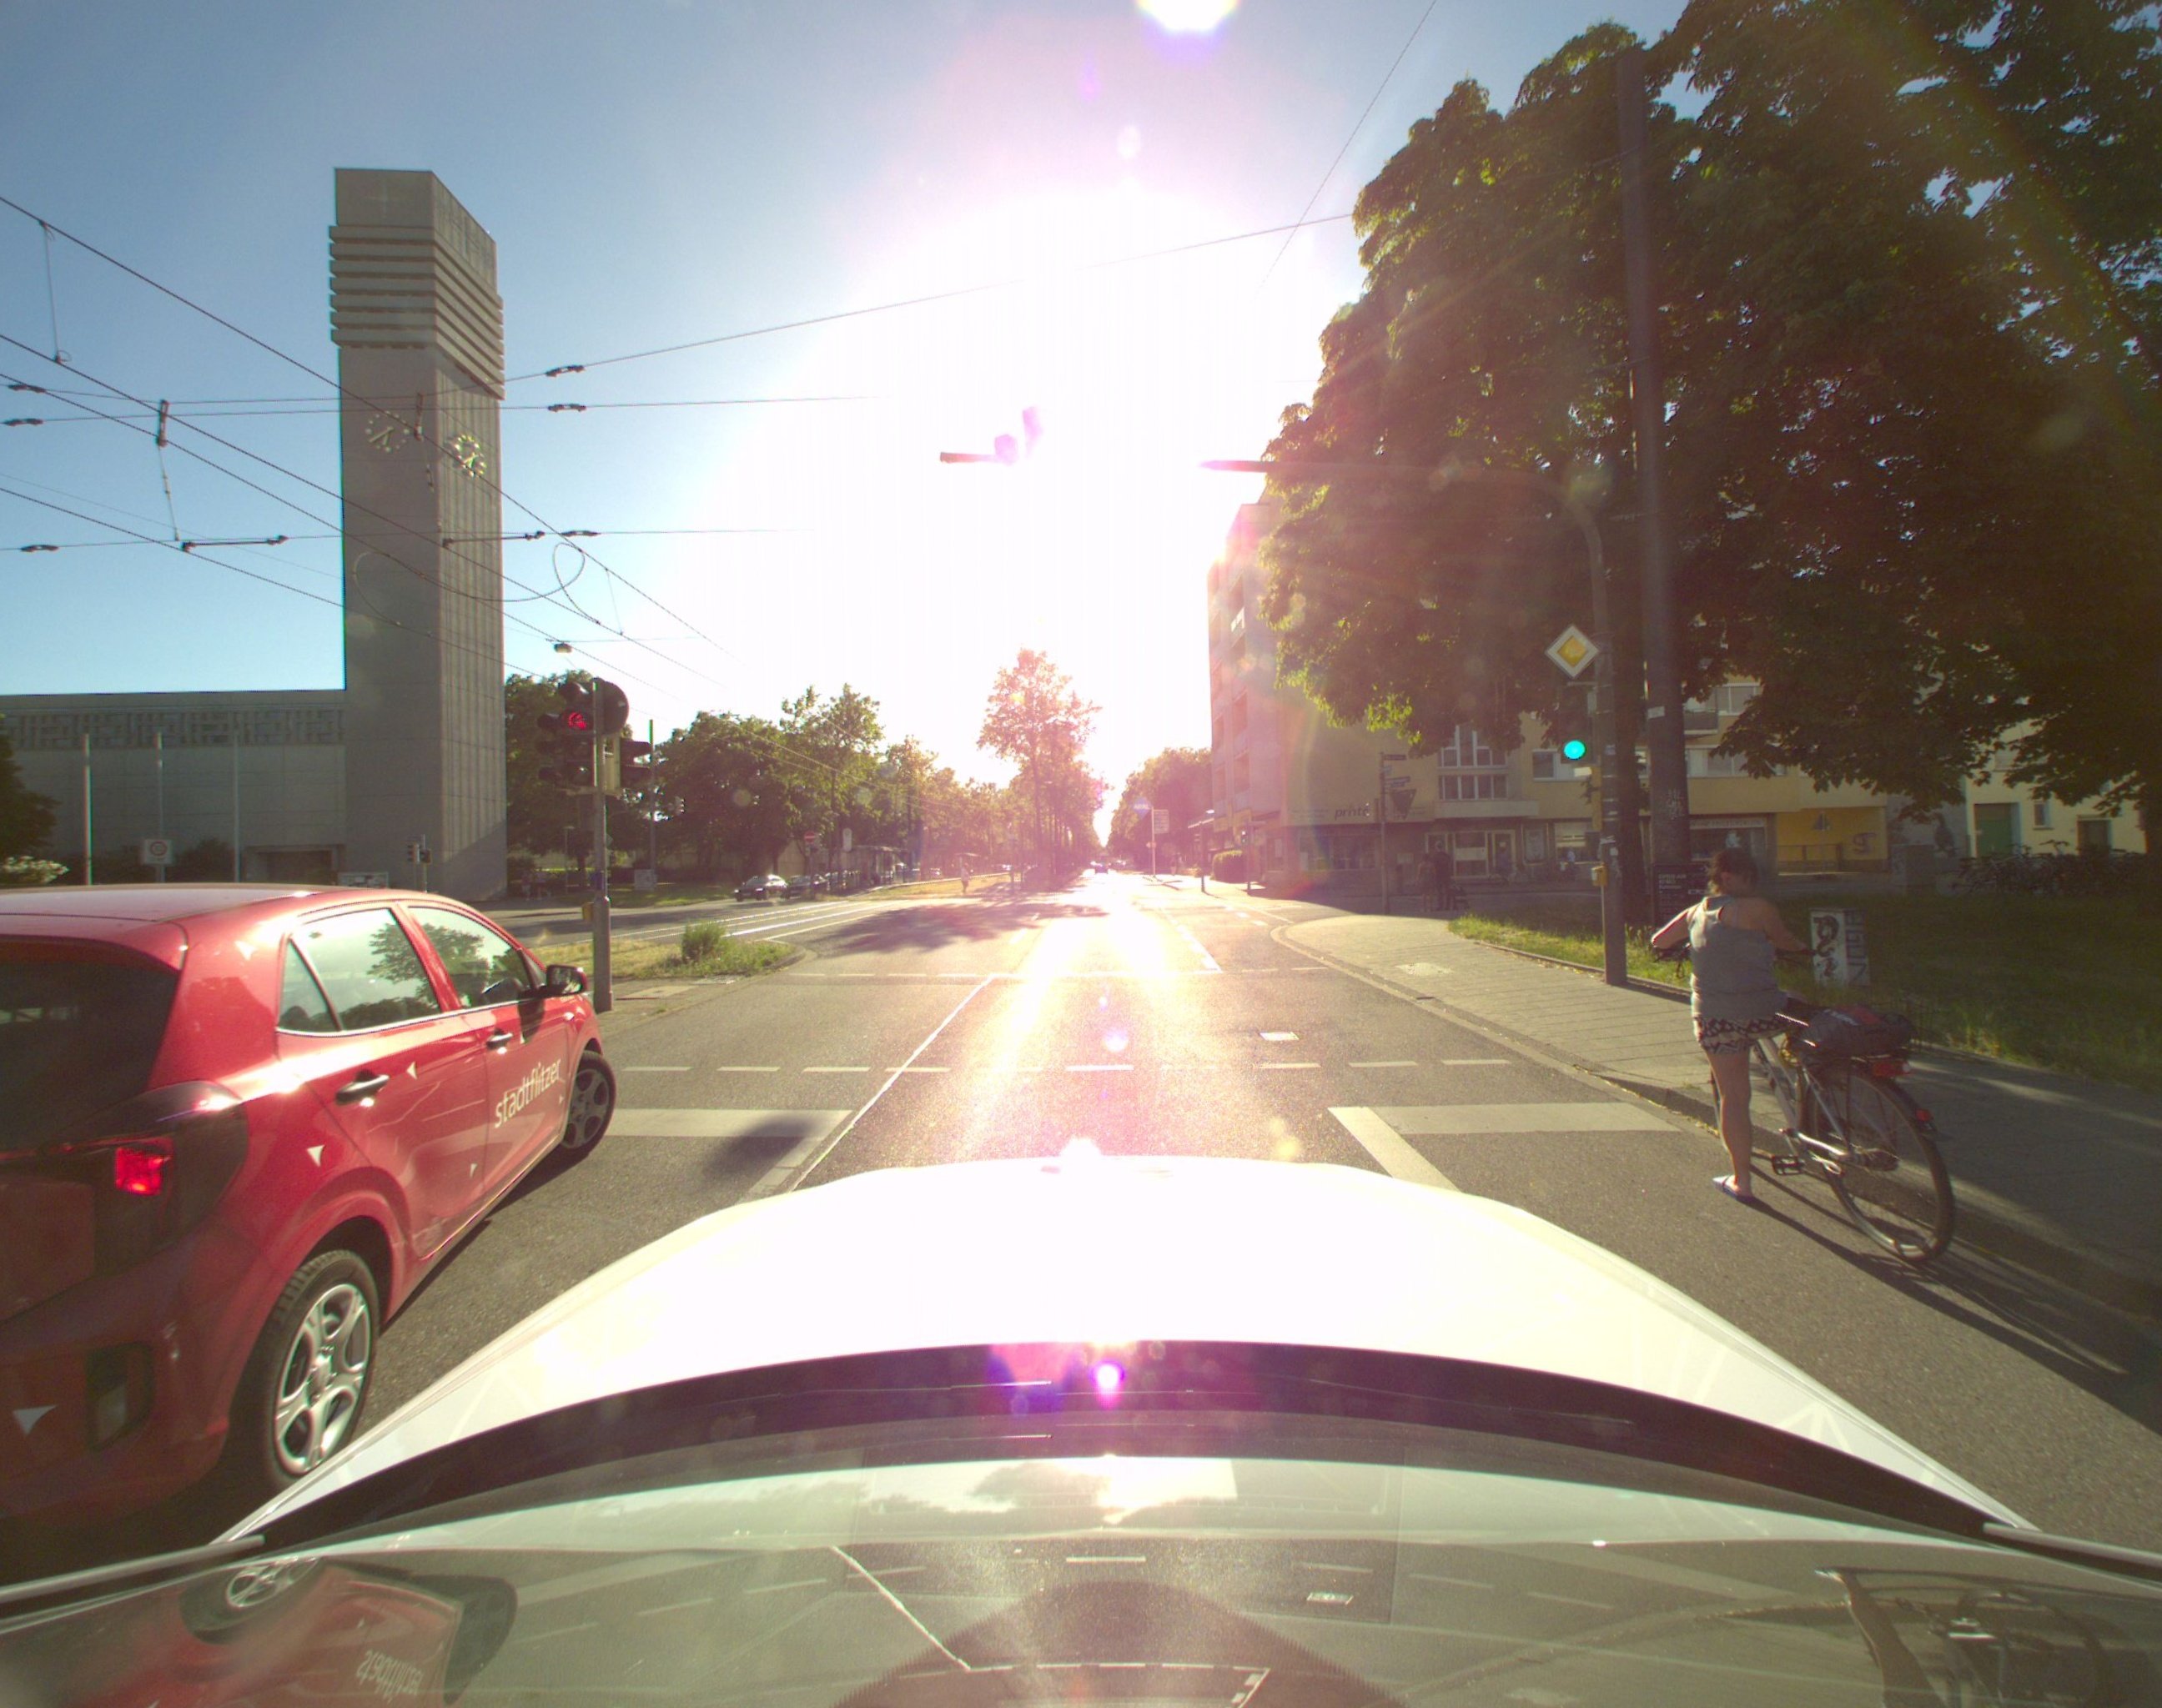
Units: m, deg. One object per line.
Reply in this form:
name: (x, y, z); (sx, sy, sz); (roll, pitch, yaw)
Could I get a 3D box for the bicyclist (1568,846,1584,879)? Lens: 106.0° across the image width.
bicyclist: (23.788, 0.416, 39.134); (0.525, 1.567, 0.464); (1, -1, -1)

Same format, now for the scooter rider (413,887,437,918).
scooter rider: (-26.941, 1.990, 33.446); (0.526, 1.218, 0.584); (1, -1, -15)

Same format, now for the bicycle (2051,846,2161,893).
bicycle: (24.306, 0.365, 19.168); (0.595, 1.034, 2.007); (1, -1, 1)

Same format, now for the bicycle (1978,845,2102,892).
bicycle: (22.431, 0.326, 19.114); (0.595, 1.034, 1.991); (1, -1, 1)

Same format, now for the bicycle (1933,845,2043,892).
bicycle: (21.130, 0.342, 19.027); (0.595, 1.034, 1.796); (1, -1, 1)

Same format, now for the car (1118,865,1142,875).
car: (8.731, 2.797, 145.066); (4.009, 1.750, 1.739); (1, -1, -28)

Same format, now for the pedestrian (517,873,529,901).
pedestrian: (-31.976, 1.877, 46.660); (0.434, 1.560, 0.305); (1, -1, -3)

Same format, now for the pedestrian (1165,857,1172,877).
pedestrian: (7.975, 1.187, 74.414); (0.572, 1.747, 0.506); (1, -1, 0)

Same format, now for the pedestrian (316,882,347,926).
pedestrian: (-29.589, 1.959, 32.173); (0.440, 1.666, 0.748); (1, -1, 11)

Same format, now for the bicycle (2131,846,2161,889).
bicycle: (26.161, 0.329, 19.057); (0.595, 1.034, 2.007); (1, -1, 1)

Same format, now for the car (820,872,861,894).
car: (-16.694, 1.979, 56.600); (1.560, 1.402, 3.916); (1, -1, 1)

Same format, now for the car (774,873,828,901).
car: (-17.239, 1.988, 50.341); (1.681, 1.533, 4.362); (-2, -1, 1)

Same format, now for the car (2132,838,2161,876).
car: (46.559, 0.072, 32.594); (5.044, 1.494, 2.243); (-1, 1, 25)

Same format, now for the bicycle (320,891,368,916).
bicycle: (-33.856, 2.263, 37.446); (0.488, 1.046, 1.687); (1, -1, 9)

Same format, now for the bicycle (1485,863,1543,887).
bicycle: (19.661, 0.950, 37.027); (2.234, 0.987, 0.792); (-1, 4, 16)

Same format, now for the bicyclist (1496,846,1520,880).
bicyclist: (19.442, 0.400, 37.109); (0.762, 1.471, 0.902); (-3, 0, 18)

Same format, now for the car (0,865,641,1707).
car: (-2.951, 0.805, 3.014); (1.699, 1.508, 3.675); (1, -1, -19)

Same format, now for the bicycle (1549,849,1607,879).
bicycle: (24.220, 0.503, 39.710); (2.462, 1.399, 0.608); (1, -1, 0)

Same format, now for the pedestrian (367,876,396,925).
pedestrian: (-27.828, 1.847, 32.400); (0.415, 1.915, 0.748); (1, -1, 11)

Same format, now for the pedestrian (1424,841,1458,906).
pedestrian: (9.424, 0.510, 21.333); (0.724, 1.682, 0.534); (1, -1, 13)

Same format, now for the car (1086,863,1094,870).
car: (2.050, 2.906, 188.850); (1.888, 1.611, 4.499); (1, -1, 0)

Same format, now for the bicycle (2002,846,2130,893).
bicycle: (23.082, 0.353, 19.151); (0.595, 1.034, 2.007); (1, -1, 1)

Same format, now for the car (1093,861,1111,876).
car: (2.696, 1.843, 103.639); (1.996, 1.860, 4.005); (1, -1, 4)

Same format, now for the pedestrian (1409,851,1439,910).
pedestrian: (8.960, 0.678, 21.311); (0.642, 1.522, 0.498); (1, -1, 13)

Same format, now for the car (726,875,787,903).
car: (-19.654, 2.114, 49.545); (1.800, 1.533, 4.362); (-2, -1, 1)

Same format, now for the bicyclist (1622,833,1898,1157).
bicyclist: (3.077, 0.585, 3.777); (0.635, 1.323, 0.803); (1, -1, 3)

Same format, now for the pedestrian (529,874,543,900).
pedestrian: (-31.346, 1.895, 46.827); (0.434, 1.507, 0.488); (1, -1, -3)

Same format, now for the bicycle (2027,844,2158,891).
bicycle: (23.700, 0.321, 19.145); (0.595, 1.034, 2.007); (1, -1, 1)

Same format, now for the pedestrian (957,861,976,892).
pedestrian: (-6.032, 1.189, 43.013); (0.887, 1.606, 0.613); (1, -1, 1)

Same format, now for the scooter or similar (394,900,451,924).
scooter or similar: (-26.996, 2.362, 33.413); (1.737, 0.899, 0.560); (-1, -1, -15)

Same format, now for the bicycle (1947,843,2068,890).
bicycle: (21.781, 0.295, 19.207); (0.595, 1.034, 2.007); (1, -1, 1)

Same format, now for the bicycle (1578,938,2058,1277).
bicycle: (3.073, 0.958, 3.695); (0.645, 0.973, 1.805); (1, -1, 4)

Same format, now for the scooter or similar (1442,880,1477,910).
scooter or similar: (9.790, 1.063, 21.079); (0.596, 0.737, 0.681); (1, -1, 1)
